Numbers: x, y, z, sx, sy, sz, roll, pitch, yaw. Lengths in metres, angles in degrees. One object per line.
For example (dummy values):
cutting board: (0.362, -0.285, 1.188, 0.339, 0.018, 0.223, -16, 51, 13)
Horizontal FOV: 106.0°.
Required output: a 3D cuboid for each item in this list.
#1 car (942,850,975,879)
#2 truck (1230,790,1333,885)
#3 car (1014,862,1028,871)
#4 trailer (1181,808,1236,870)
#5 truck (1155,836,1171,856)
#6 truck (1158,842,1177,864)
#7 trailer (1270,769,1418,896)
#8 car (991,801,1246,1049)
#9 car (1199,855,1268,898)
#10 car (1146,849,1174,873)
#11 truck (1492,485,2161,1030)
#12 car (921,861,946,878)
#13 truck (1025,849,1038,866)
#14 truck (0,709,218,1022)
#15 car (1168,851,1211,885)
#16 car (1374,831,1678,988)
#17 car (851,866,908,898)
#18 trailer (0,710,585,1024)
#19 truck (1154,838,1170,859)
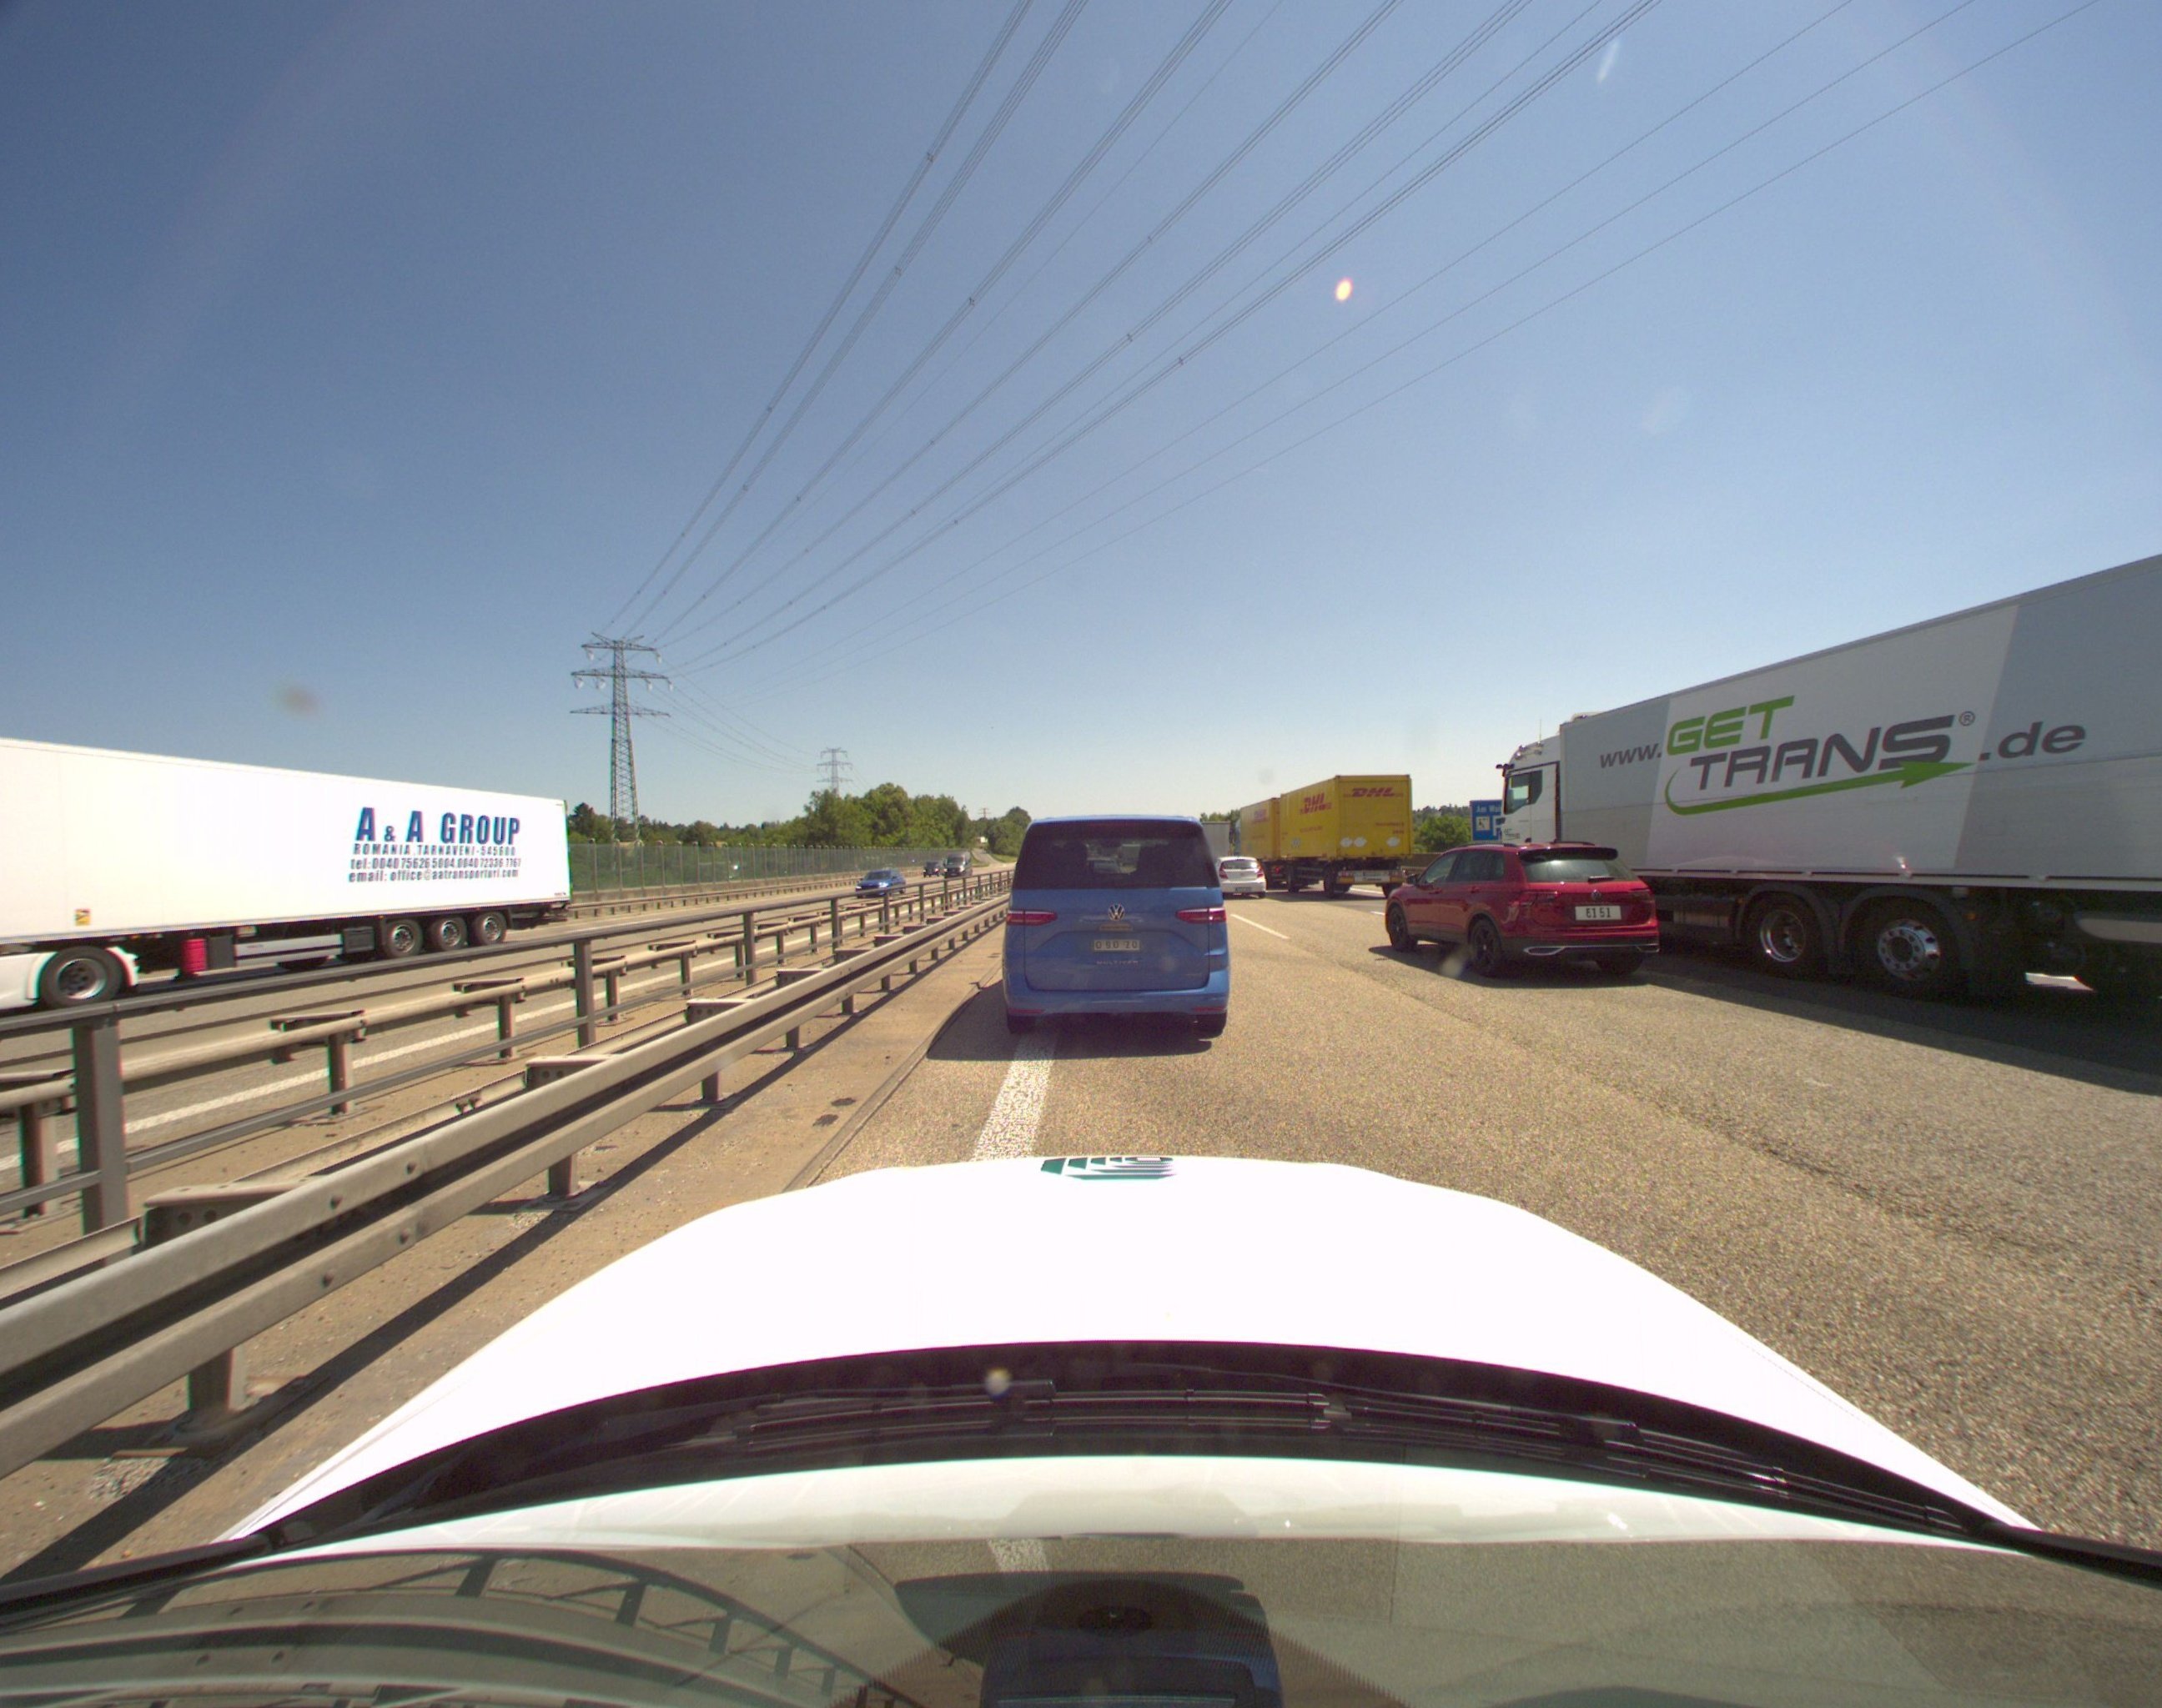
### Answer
car: (-11.812, 0.991, 78.840, 1.987, 2.582, 6.649, -4, -1, 0)
truck: (9.574, -0.650, 40.207, 2.690, 4.088, 9.938, 0, -1, 0)
car: (-10.386, 2.170, 141.233, 1.986, 1.544, 4.387, -3, -1, 2)
trailer: (10.158, -1.020, 66.190, 3.015, 4.611, 10.928, 0, -1, 2)
truck: (10.891, -0.994, 108.214, 1.790, 2.596, 4.306, 0, -1, 1)
truck: (9.990, -0.060, 94.072, 1.791, 2.449, 4.505, 0, -1, 1)
trailer: (9.540, -0.631, 30.777, 2.674, 4.088, 8.978, 0, -1, 0)
car: (0.327, 0.564, 8.192, 1.924, 1.874, 4.001, 0, -1, 1)
car: (5.496, 0.786, 29.725, 1.809, 1.470, 3.931, 0, -1, 0)
car: (6.476, 0.579, 67.055, 1.955, 1.936, 3.933, 0, -1, 1)
truck: (9.299, -0.648, 10.417, 2.842, 3.934, 10.610, 0, -1, 1)
car: (-17.811, 1.868, 98.567, 1.951, 1.905, 4.949, -3, -1, 0)
truck: (-13.286, 0.964, 219.683, 2.660, 4.185, 6.292, -2, -1, 3)
truck: (-16.316, 0.234, 10.397, 2.918, 4.293, 6.861, -4, -1, 2)
car: (5.593, 0.701, 42.231, 1.808, 1.679, 3.933, 0, -1, 1)
car: (5.651, 0.629, 11.071, 1.703, 1.679, 4.282, -1, -1, -1)
car: (-10.745, 1.468, 43.781, 1.766, 1.491, 4.606, -2, 0, 2)
trailer: (-16.088, 0.301, 16.754, 2.895, 4.307, 13.665, -3, -1, 2)
truck: (10.187, -0.723, 102.641, 1.735, 2.549, 4.211, 0, -1, 1)
